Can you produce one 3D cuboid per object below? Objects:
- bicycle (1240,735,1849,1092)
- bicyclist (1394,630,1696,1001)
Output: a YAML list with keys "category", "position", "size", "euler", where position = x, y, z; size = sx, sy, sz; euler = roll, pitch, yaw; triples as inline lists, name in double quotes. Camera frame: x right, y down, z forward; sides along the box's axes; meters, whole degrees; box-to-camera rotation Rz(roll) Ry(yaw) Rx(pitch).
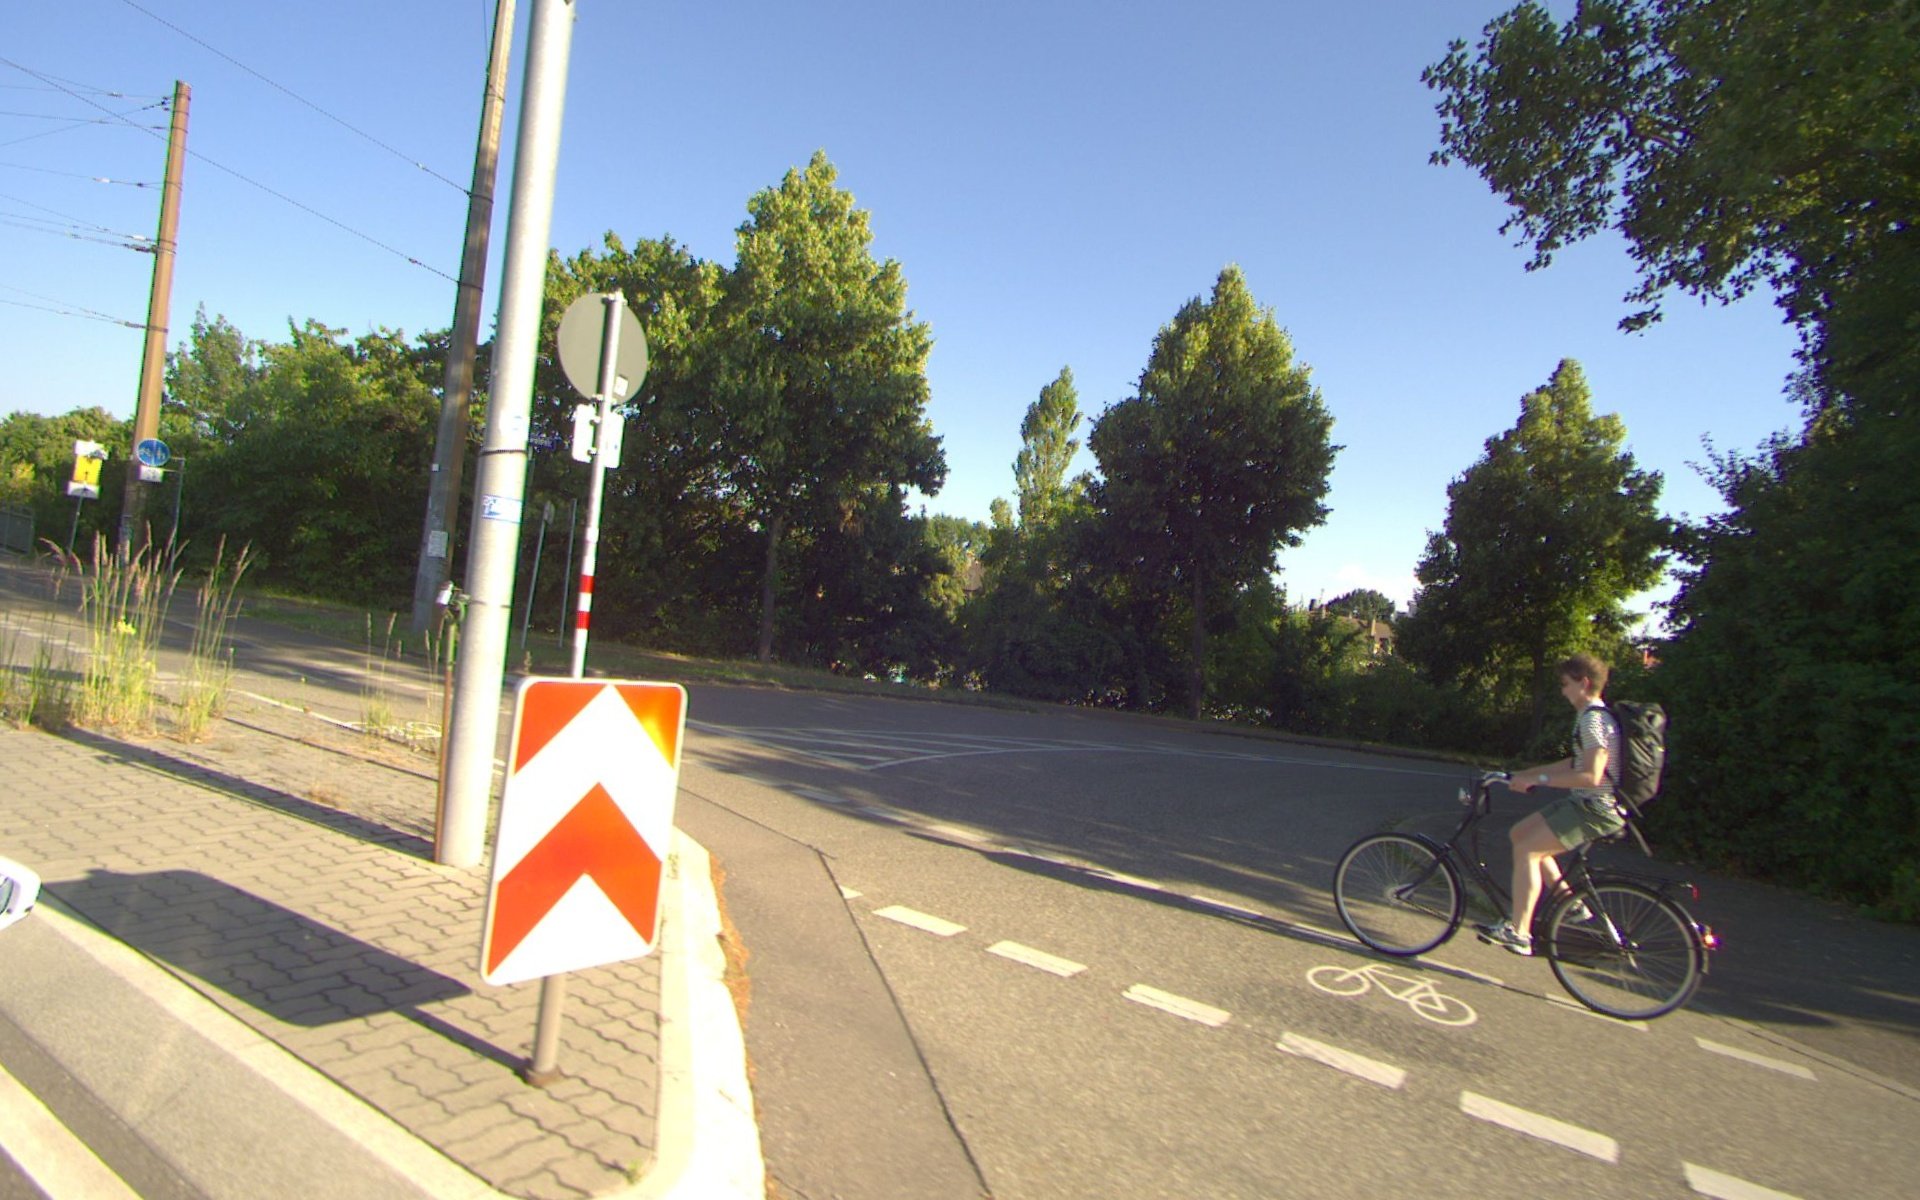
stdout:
- category: "bicycle"
  position: [3.099, 1.587, 5.685]
  size: [2.698, 1.135, 0.732]
  euler: [8, -2, 34]
- category: "bicyclist"
  position: [3.261, 1.131, 5.656]
  size: [1.183, 1.708, 0.732]
  euler: [8, -2, 34]
